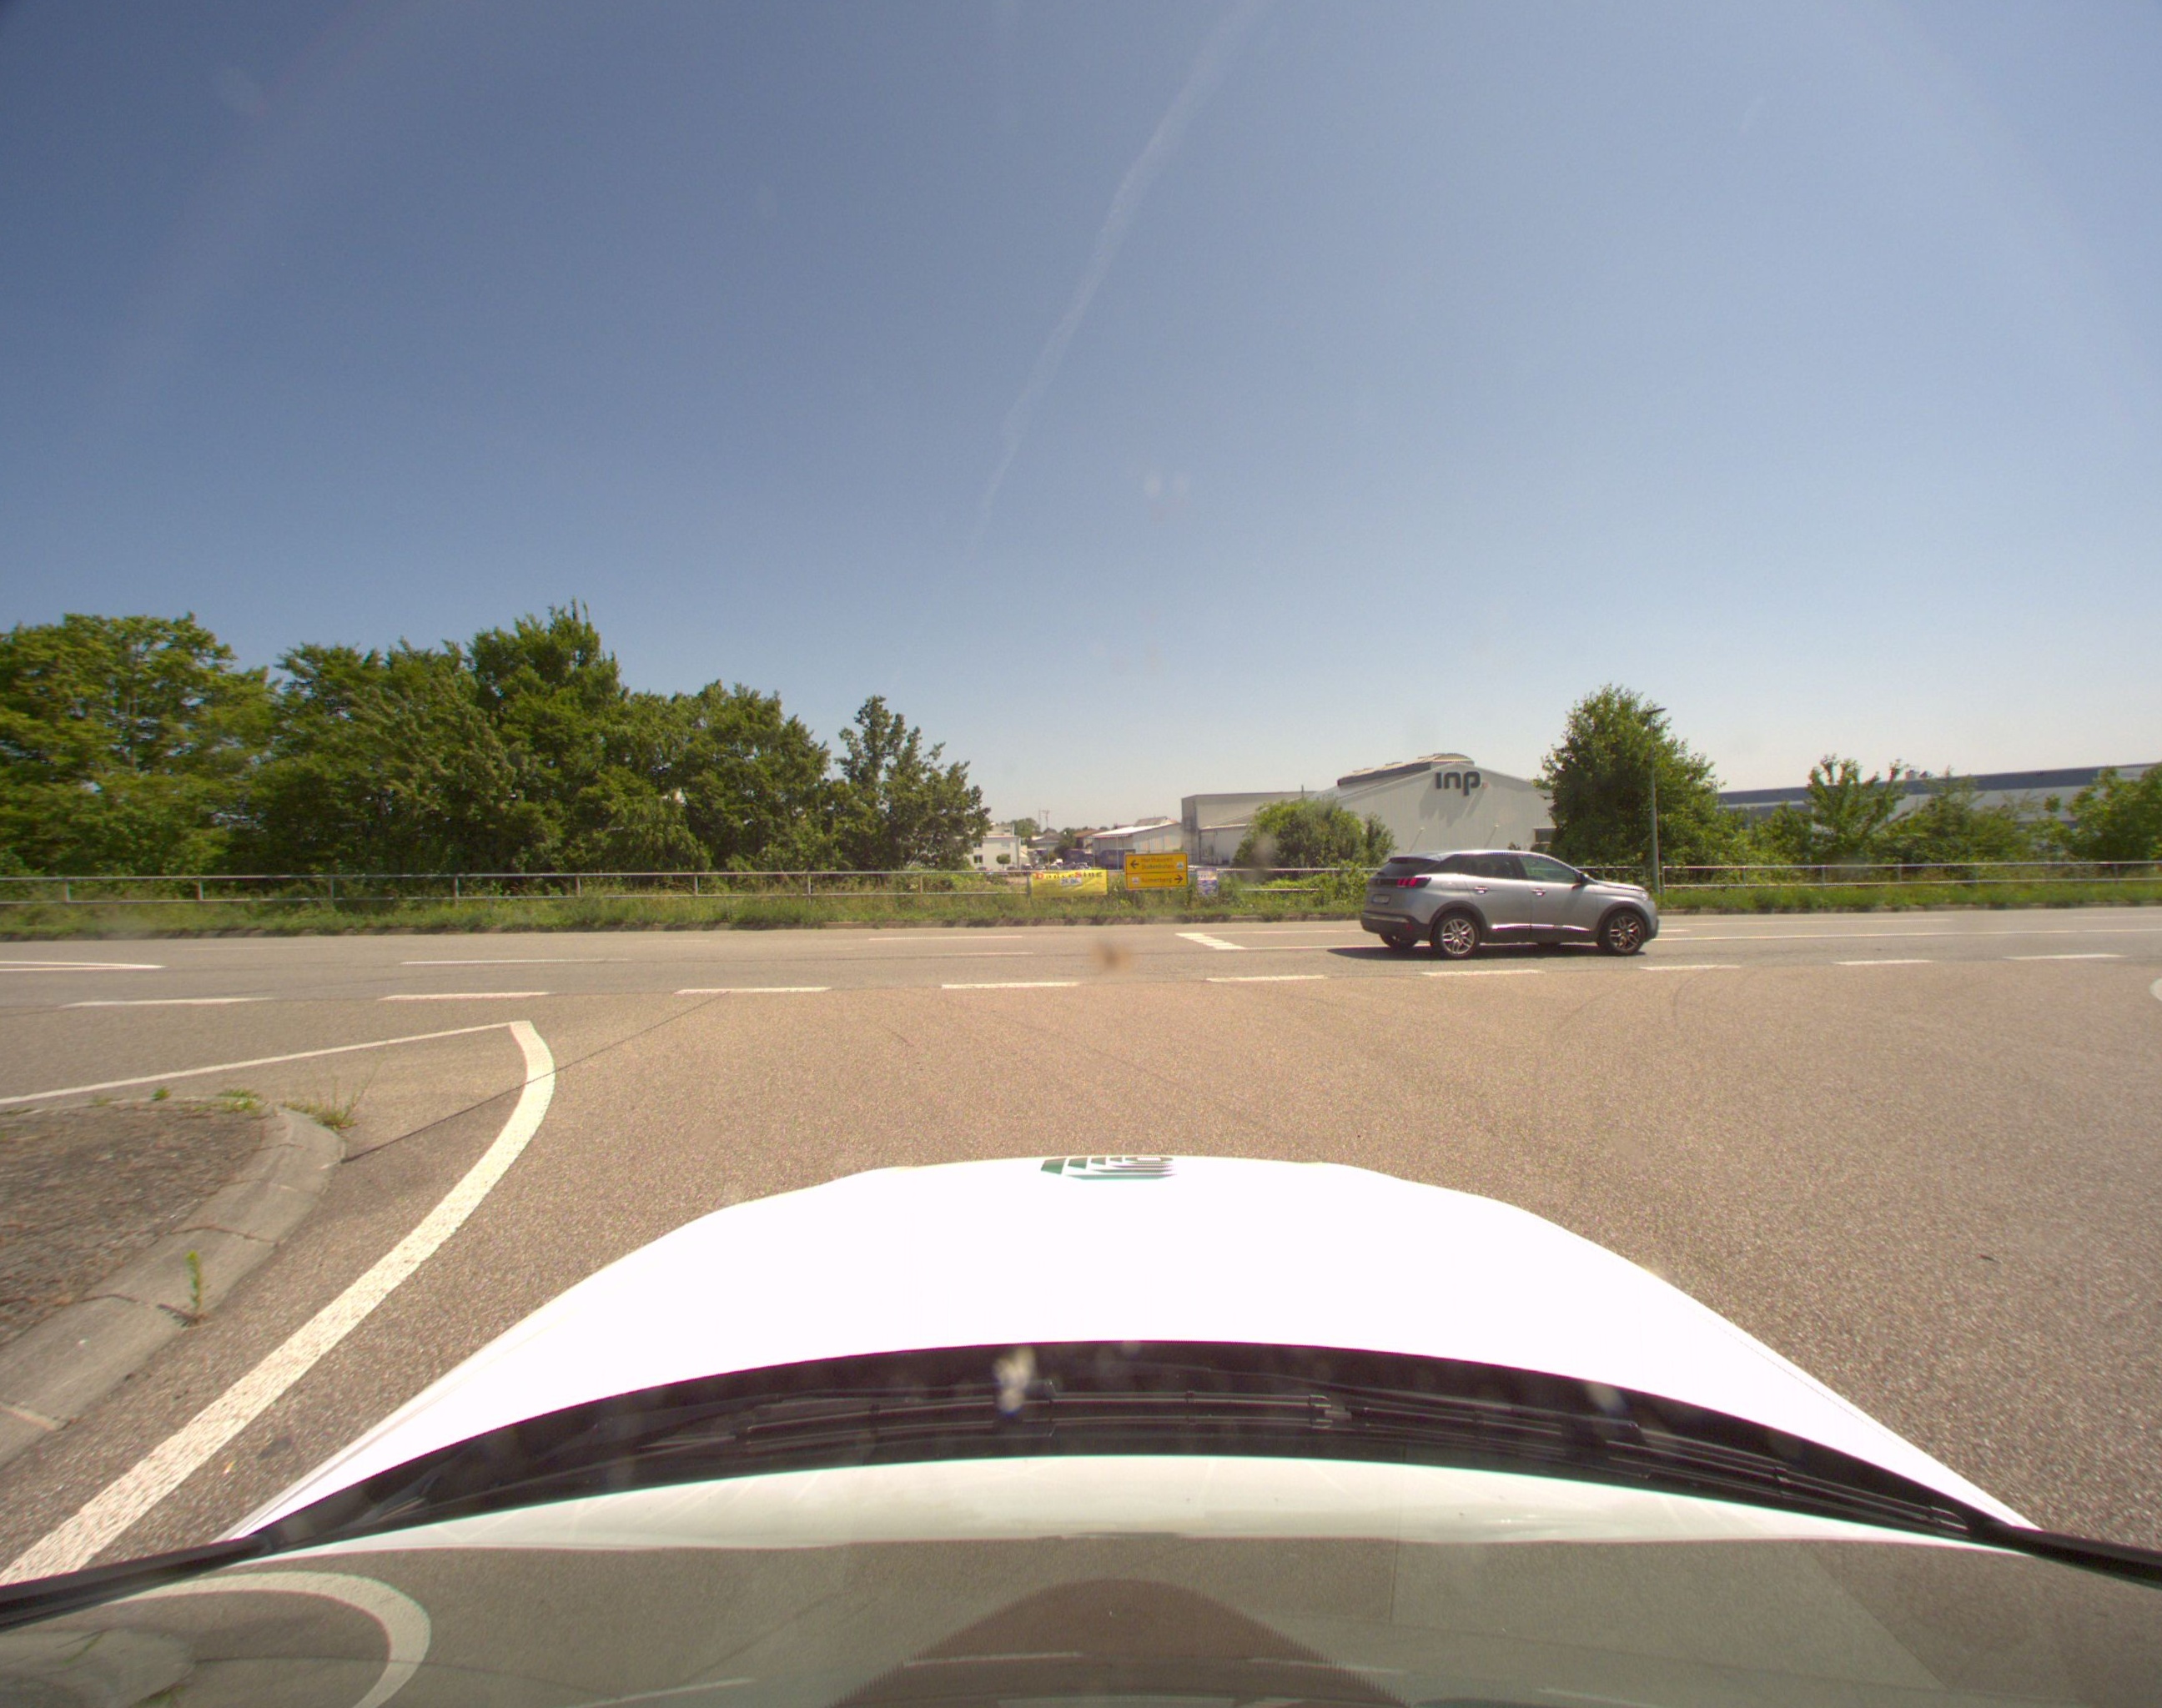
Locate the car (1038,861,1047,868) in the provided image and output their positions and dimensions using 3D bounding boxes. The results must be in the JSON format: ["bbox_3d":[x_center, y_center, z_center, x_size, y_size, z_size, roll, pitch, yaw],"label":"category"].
[{"bbox_3d":[-8.837,2.362,184.556,1.452,1.350,3.301,-1,0,-13],"label":"car"}]

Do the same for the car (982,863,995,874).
[{"bbox_3d":[-17.489,2.703,153.534,1.996,2.013,4.842,0,0,-13],"label":"car"}]

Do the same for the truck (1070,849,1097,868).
[{"bbox_3d":[0.494,1.151,193.790,3.414,4.311,14.535,-1,0,-11],"label":"truck"}]

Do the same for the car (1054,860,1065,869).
[{"bbox_3d":[-4.756,2.405,182.518,1.718,2.013,3.983,-1,0,-12],"label":"car"}]

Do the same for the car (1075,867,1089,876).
[{"bbox_3d":[0.209,3.033,142.528,1.684,1.363,3.820,-4,1,-12],"label":"car"}]

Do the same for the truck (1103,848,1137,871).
[{"bbox_3d":[7.608,1.026,160.230,3.709,4.311,13.294,-1,0,-10],"label":"truck"}]

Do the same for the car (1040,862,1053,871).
[{"bbox_3d":[-7.463,2.697,176.278,1.995,1.731,4.842,0,0,-13],"label":"car"}]

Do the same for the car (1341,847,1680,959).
[{"bbox_3d":[6.557,0.705,12.691,4.471,1.583,1.794,0,-1,-7],"label":"car"}]
